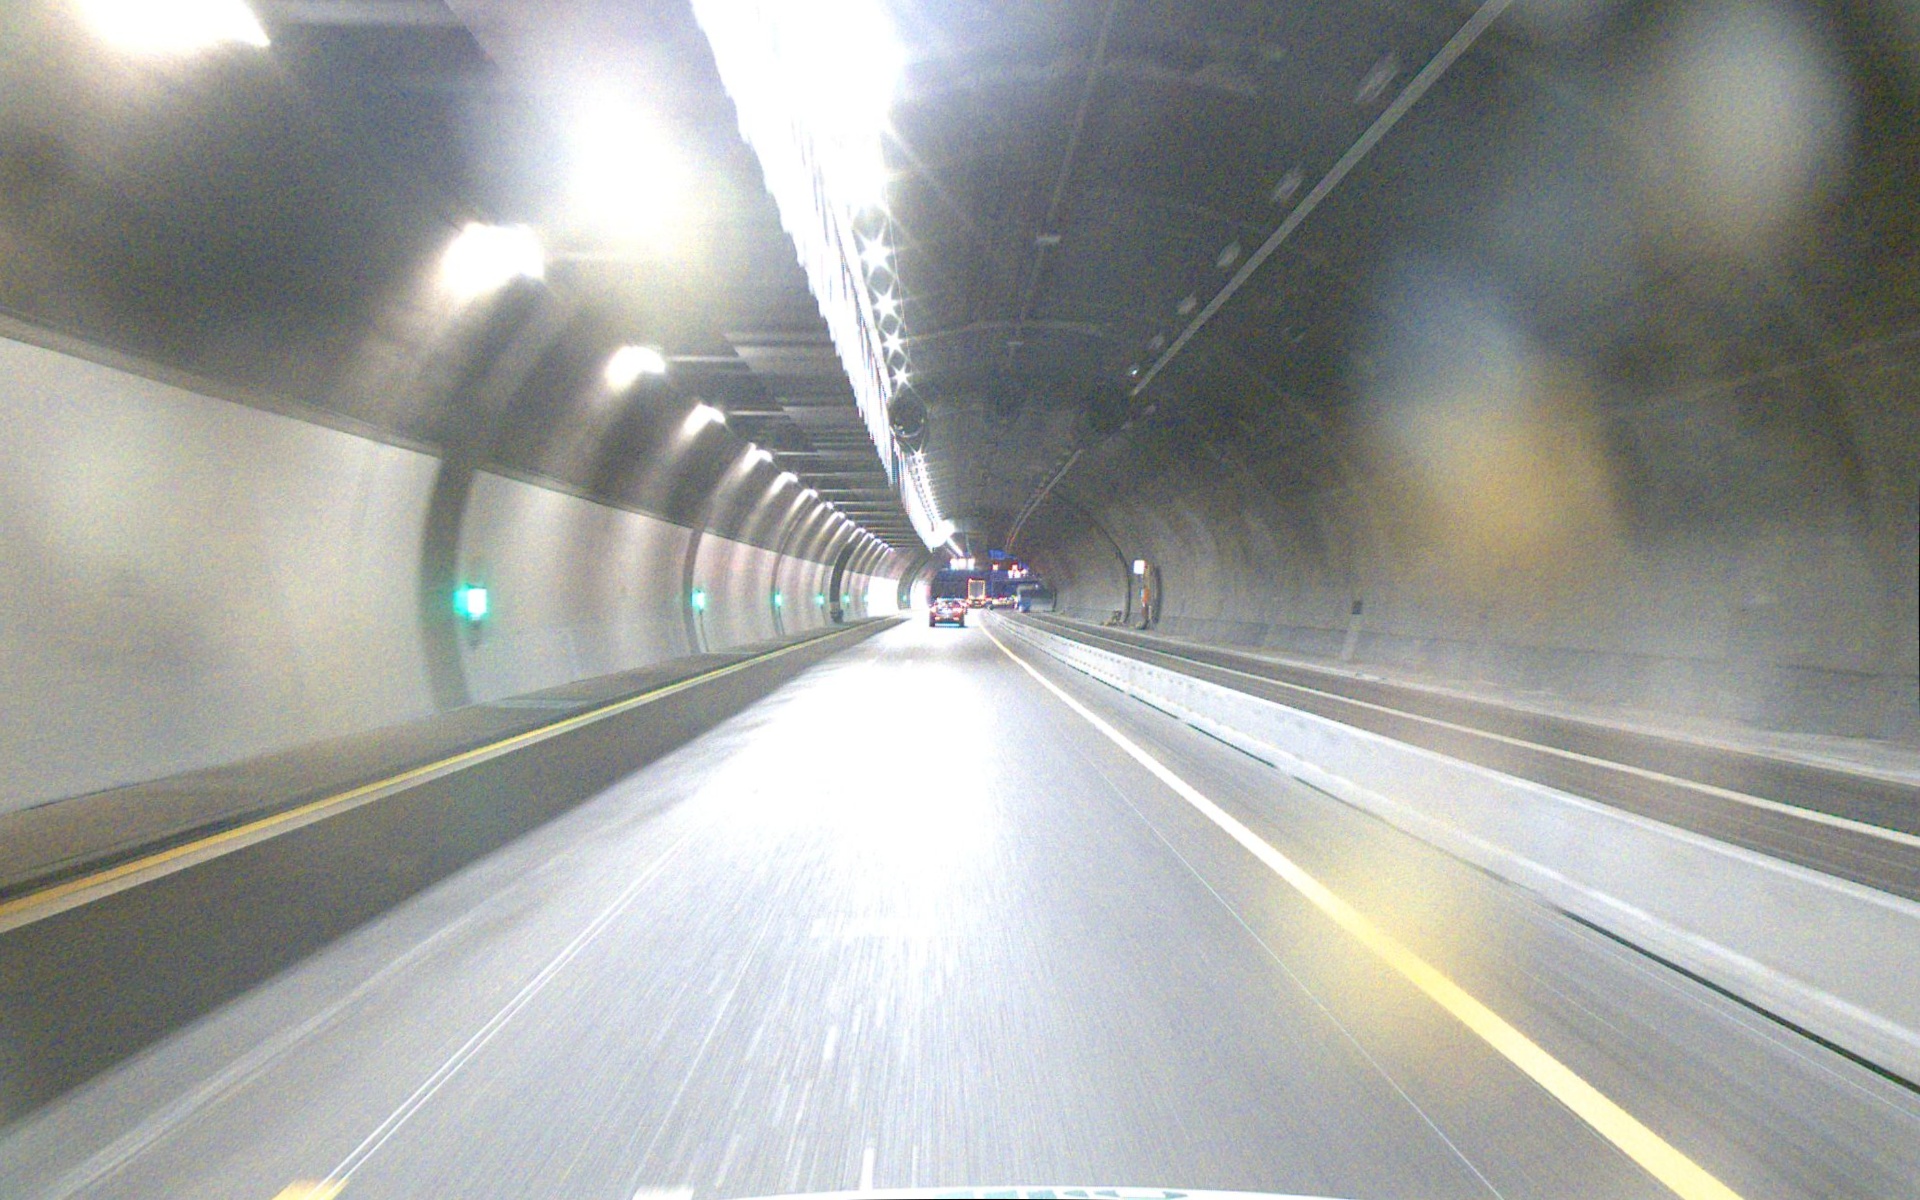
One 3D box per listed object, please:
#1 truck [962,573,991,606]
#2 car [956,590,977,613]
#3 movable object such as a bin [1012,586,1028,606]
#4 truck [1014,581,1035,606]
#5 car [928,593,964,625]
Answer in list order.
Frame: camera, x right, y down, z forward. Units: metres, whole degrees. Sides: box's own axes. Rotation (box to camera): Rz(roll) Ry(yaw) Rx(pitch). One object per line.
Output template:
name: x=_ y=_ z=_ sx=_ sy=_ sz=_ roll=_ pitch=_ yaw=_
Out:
truck: x=2.671 y=-1.635 z=258.961 sx=4.452 sy=5.074 sz=9.600 roll=0 pitch=0 yaw=1
car: x=0.587 y=0.132 z=154.984 sx=1.953 sy=2.049 sz=3.999 roll=0 pitch=0 yaw=-1
movable object such as a bin: x=8.598 y=-0.508 z=236.054 sx=2.192 sy=2.843 sz=7.234 roll=0 pitch=0 yaw=1
truck: x=8.812 y=-0.808 z=226.829 sx=2.832 sy=3.329 sz=8.402 roll=0 pitch=0 yaw=1
car: x=-0.758 y=0.479 z=86.941 sx=1.849 sy=1.635 sz=3.999 roll=0 pitch=0 yaw=-2
